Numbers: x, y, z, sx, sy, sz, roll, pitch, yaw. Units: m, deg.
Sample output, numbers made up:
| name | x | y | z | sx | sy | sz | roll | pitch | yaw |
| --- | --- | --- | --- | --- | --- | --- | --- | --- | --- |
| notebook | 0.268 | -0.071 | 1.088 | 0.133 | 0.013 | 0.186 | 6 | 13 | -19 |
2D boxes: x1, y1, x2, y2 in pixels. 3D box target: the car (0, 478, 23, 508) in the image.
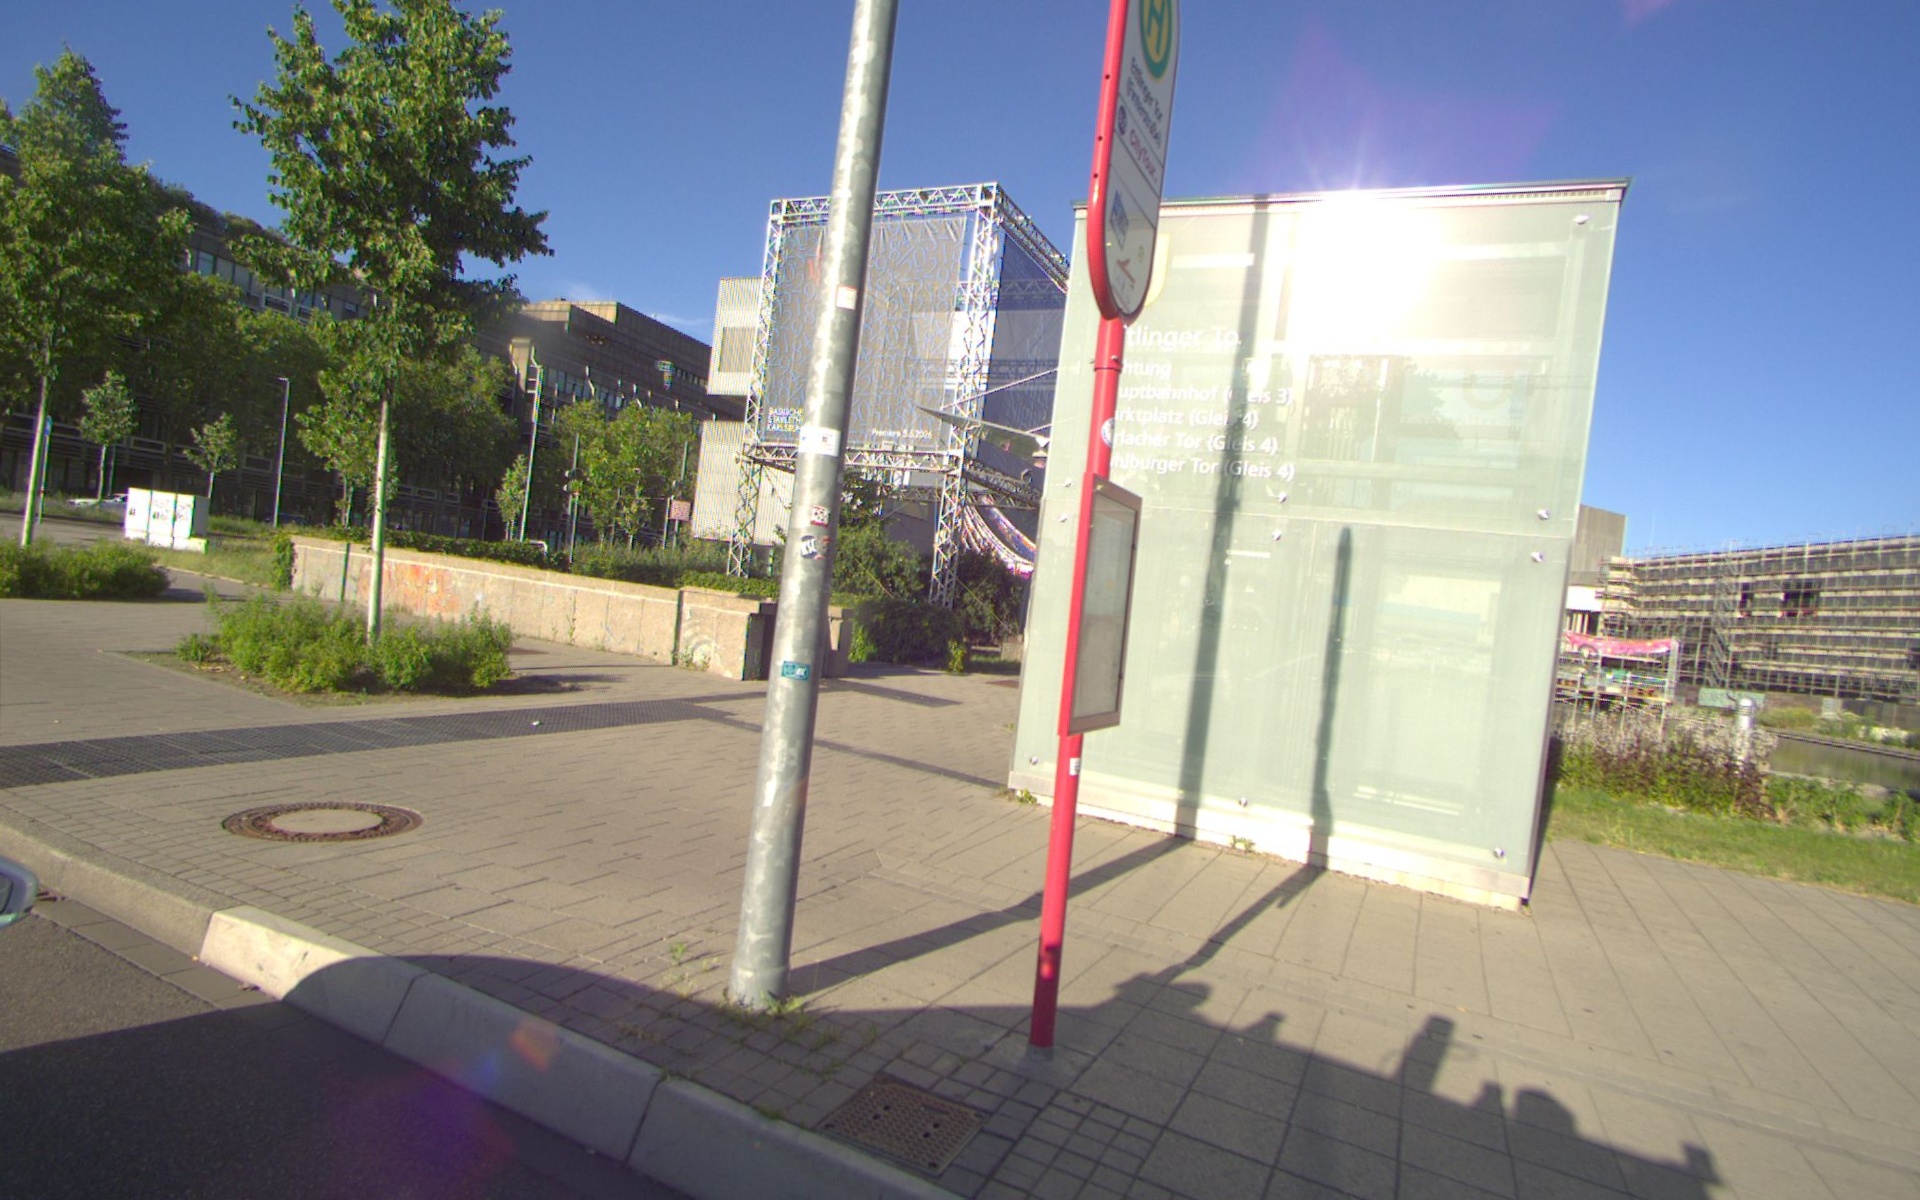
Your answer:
| name | x | y | z | sx | sy | sz | roll | pitch | yaw |
| --- | --- | --- | --- | --- | --- | --- | --- | --- | --- |
| car | -51.783 | -5.871 | 51.857 | 1.964 | 1.373 | 4.644 | 9 | 0 | 23 |

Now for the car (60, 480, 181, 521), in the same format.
| name | x | y | z | sx | sy | sz | roll | pitch | yaw |
| --- | --- | --- | --- | --- | --- | --- | --- | --- | --- |
| car | -46.229 | -5.446 | 55.511 | 1.964 | 1.373 | 4.644 | 9 | 0 | 23 |

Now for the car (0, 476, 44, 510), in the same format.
| name | x | y | z | sx | sy | sz | roll | pitch | yaw |
| --- | --- | --- | --- | --- | --- | --- | --- | --- | --- |
| car | -48.836 | -5.585 | 49.817 | 1.964 | 1.373 | 4.644 | 9 | 0 | 23 |
